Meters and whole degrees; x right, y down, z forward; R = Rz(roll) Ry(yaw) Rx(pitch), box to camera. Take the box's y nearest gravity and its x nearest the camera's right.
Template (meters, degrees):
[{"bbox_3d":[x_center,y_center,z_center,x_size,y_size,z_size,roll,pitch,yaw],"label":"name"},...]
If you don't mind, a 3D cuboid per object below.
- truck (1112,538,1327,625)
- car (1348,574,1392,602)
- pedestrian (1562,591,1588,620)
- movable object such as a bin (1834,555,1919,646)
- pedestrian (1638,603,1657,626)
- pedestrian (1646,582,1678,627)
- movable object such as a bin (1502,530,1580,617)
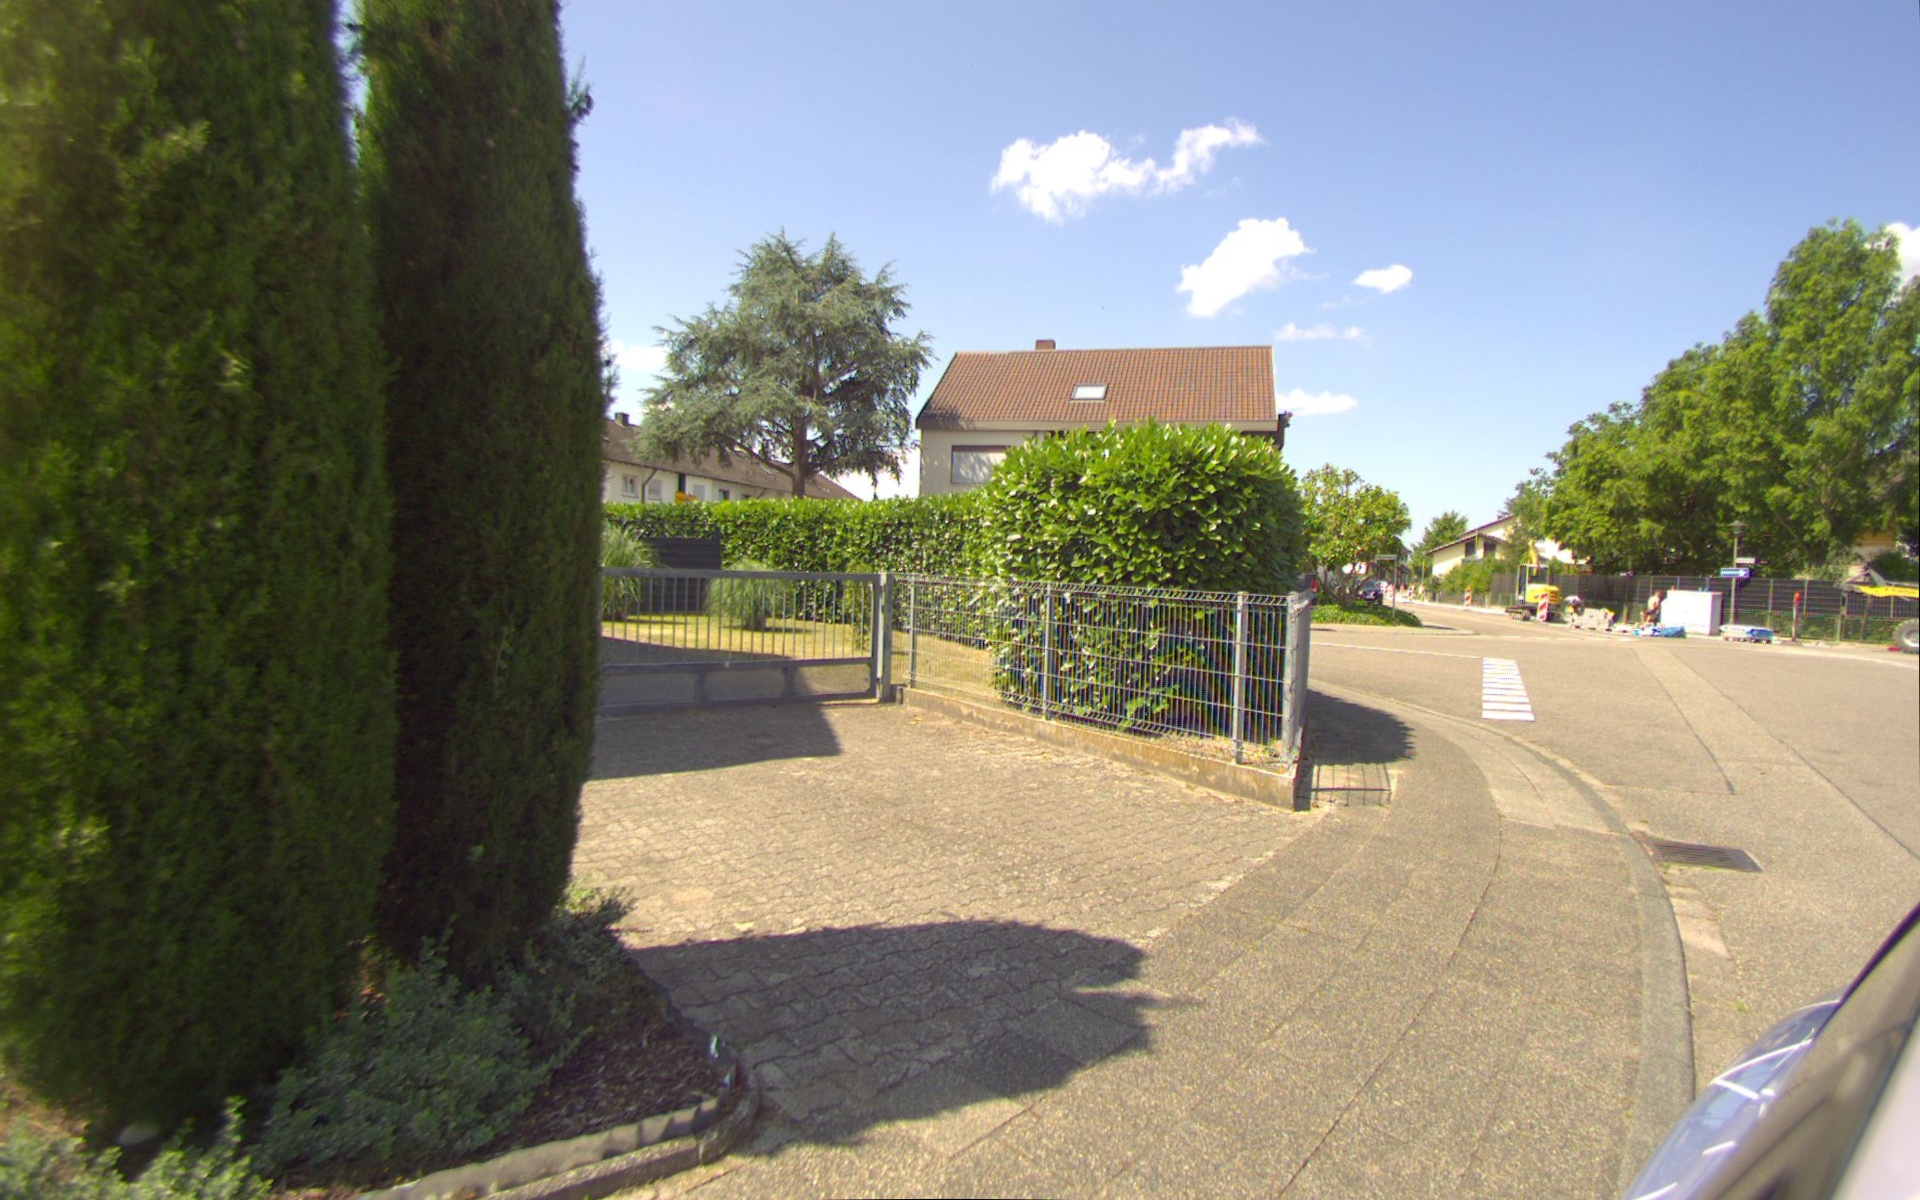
[{"bbox_3d":[7.281,-0.506,28.802,5.626,2.040,2.361,2,-4,13],"label":"truck"},{"bbox_3d":[25.281,-0.757,62.526,1.892,1.561,3.984,3,2,13],"label":"car"},{"bbox_3d":[25.287,0.214,41.600,0.808,1.183,0.512,1,2,-26],"label":"pedestrian"},{"bbox_3d":[27.805,0.096,28.003,1.966,2.483,5.222,3,1,-43],"label":"movable object such as a bin"},{"bbox_3d":[25.299,0.526,37.229,0.513,0.803,0.431,0,2,-38],"label":"pedestrian"},{"bbox_3d":[24.571,0.143,35.423,0.846,1.532,0.526,2,2,36],"label":"pedestrian"},{"bbox_3d":[25.744,-1.196,44.976,1.972,3.609,3.797,2,2,16],"label":"movable object such as a bin"}]
